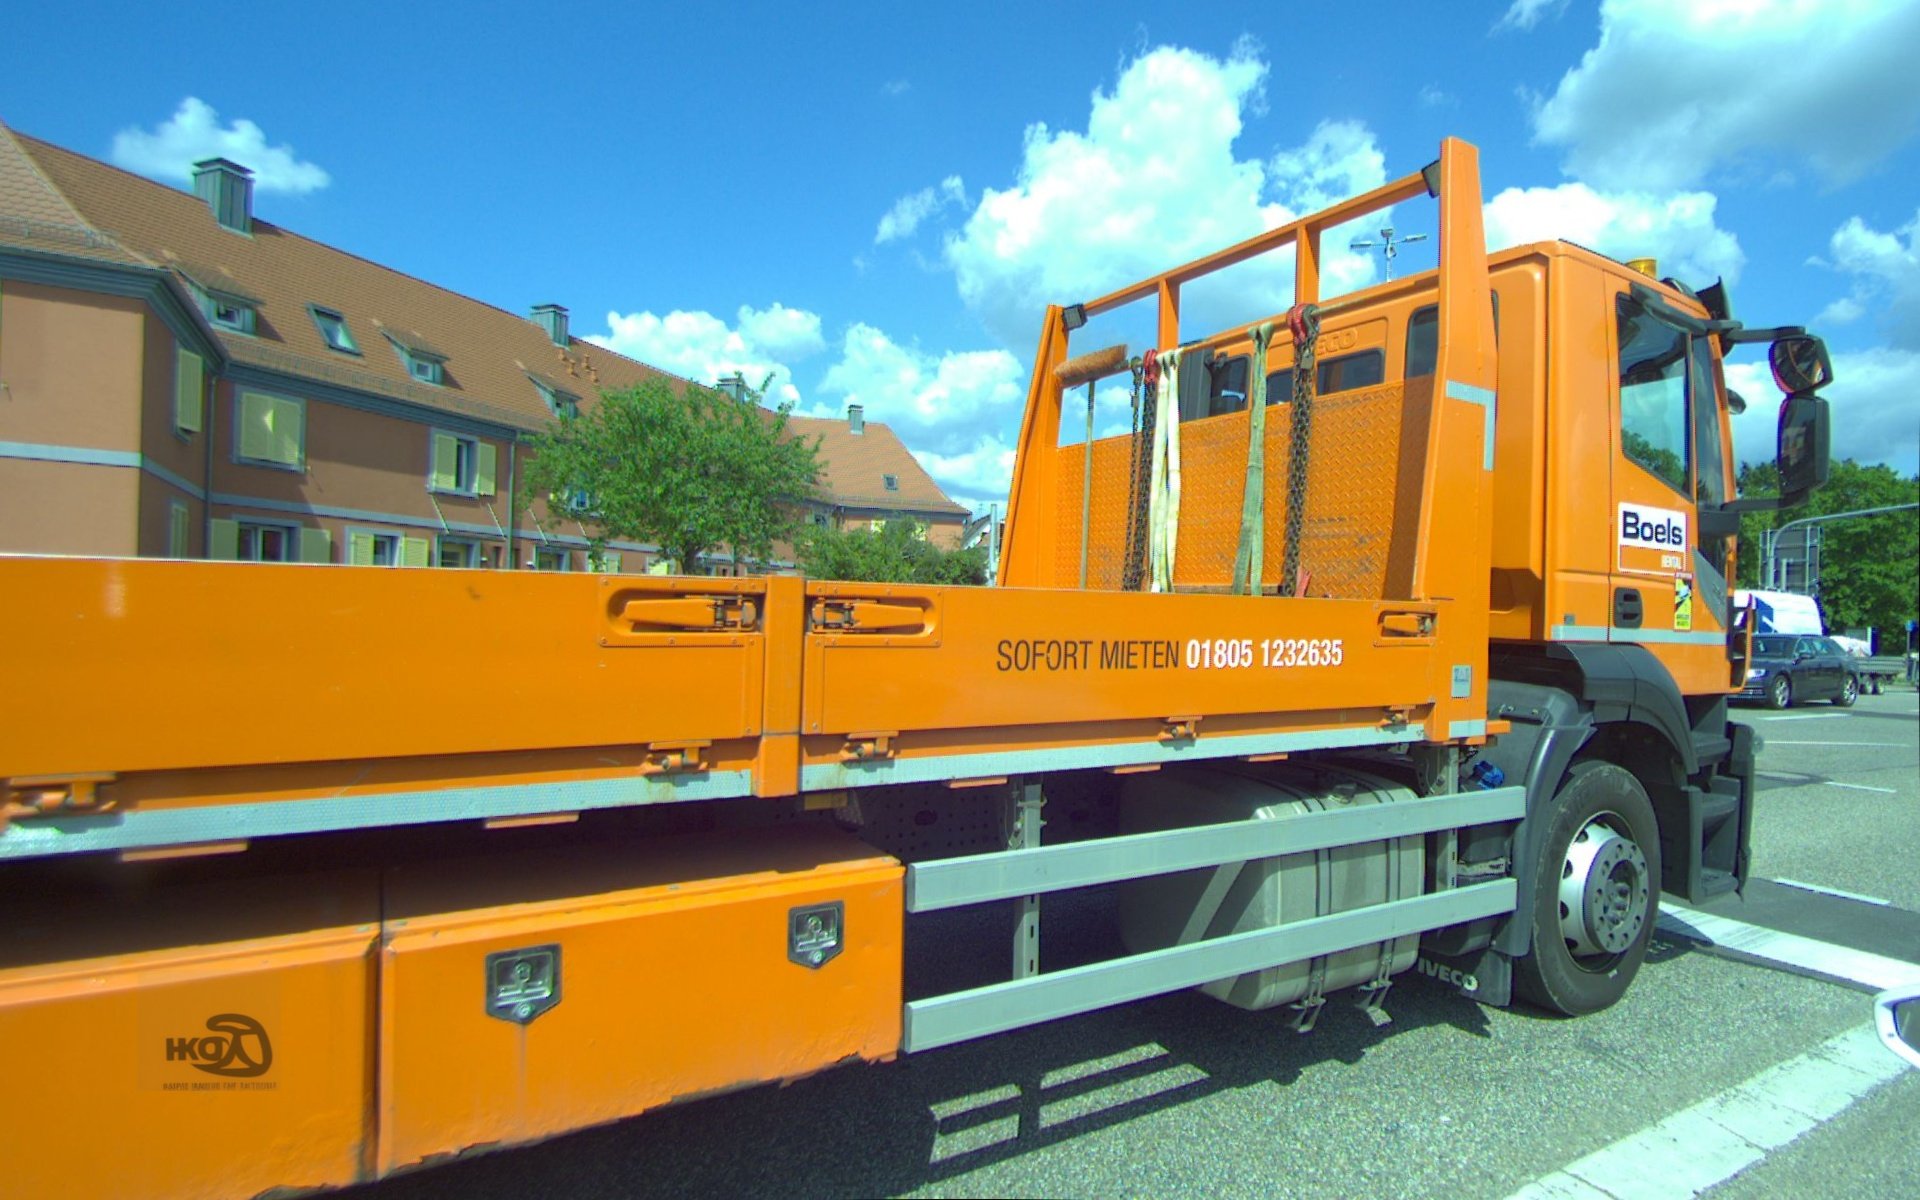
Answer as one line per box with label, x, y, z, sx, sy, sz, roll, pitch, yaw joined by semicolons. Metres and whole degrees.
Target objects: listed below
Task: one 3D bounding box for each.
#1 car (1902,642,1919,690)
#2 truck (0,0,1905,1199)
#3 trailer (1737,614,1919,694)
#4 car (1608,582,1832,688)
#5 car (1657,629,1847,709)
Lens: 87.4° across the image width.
car;33.335;2.277;33.392;3.954;1.533;1.849;3;1;-30
truck;-1.636;-0.565;2.673;10.941;3.459;3.055;3;1;-31
trailer;24.842;1.555;28.705;5.094;2.040;2.117;3;1;-26
car;19.893;0.933;26.250;5.889;2.504;2.166;3;1;-26
car;15.410;1.319;19.524;3.478;1.370;1.755;3;-1;-30
